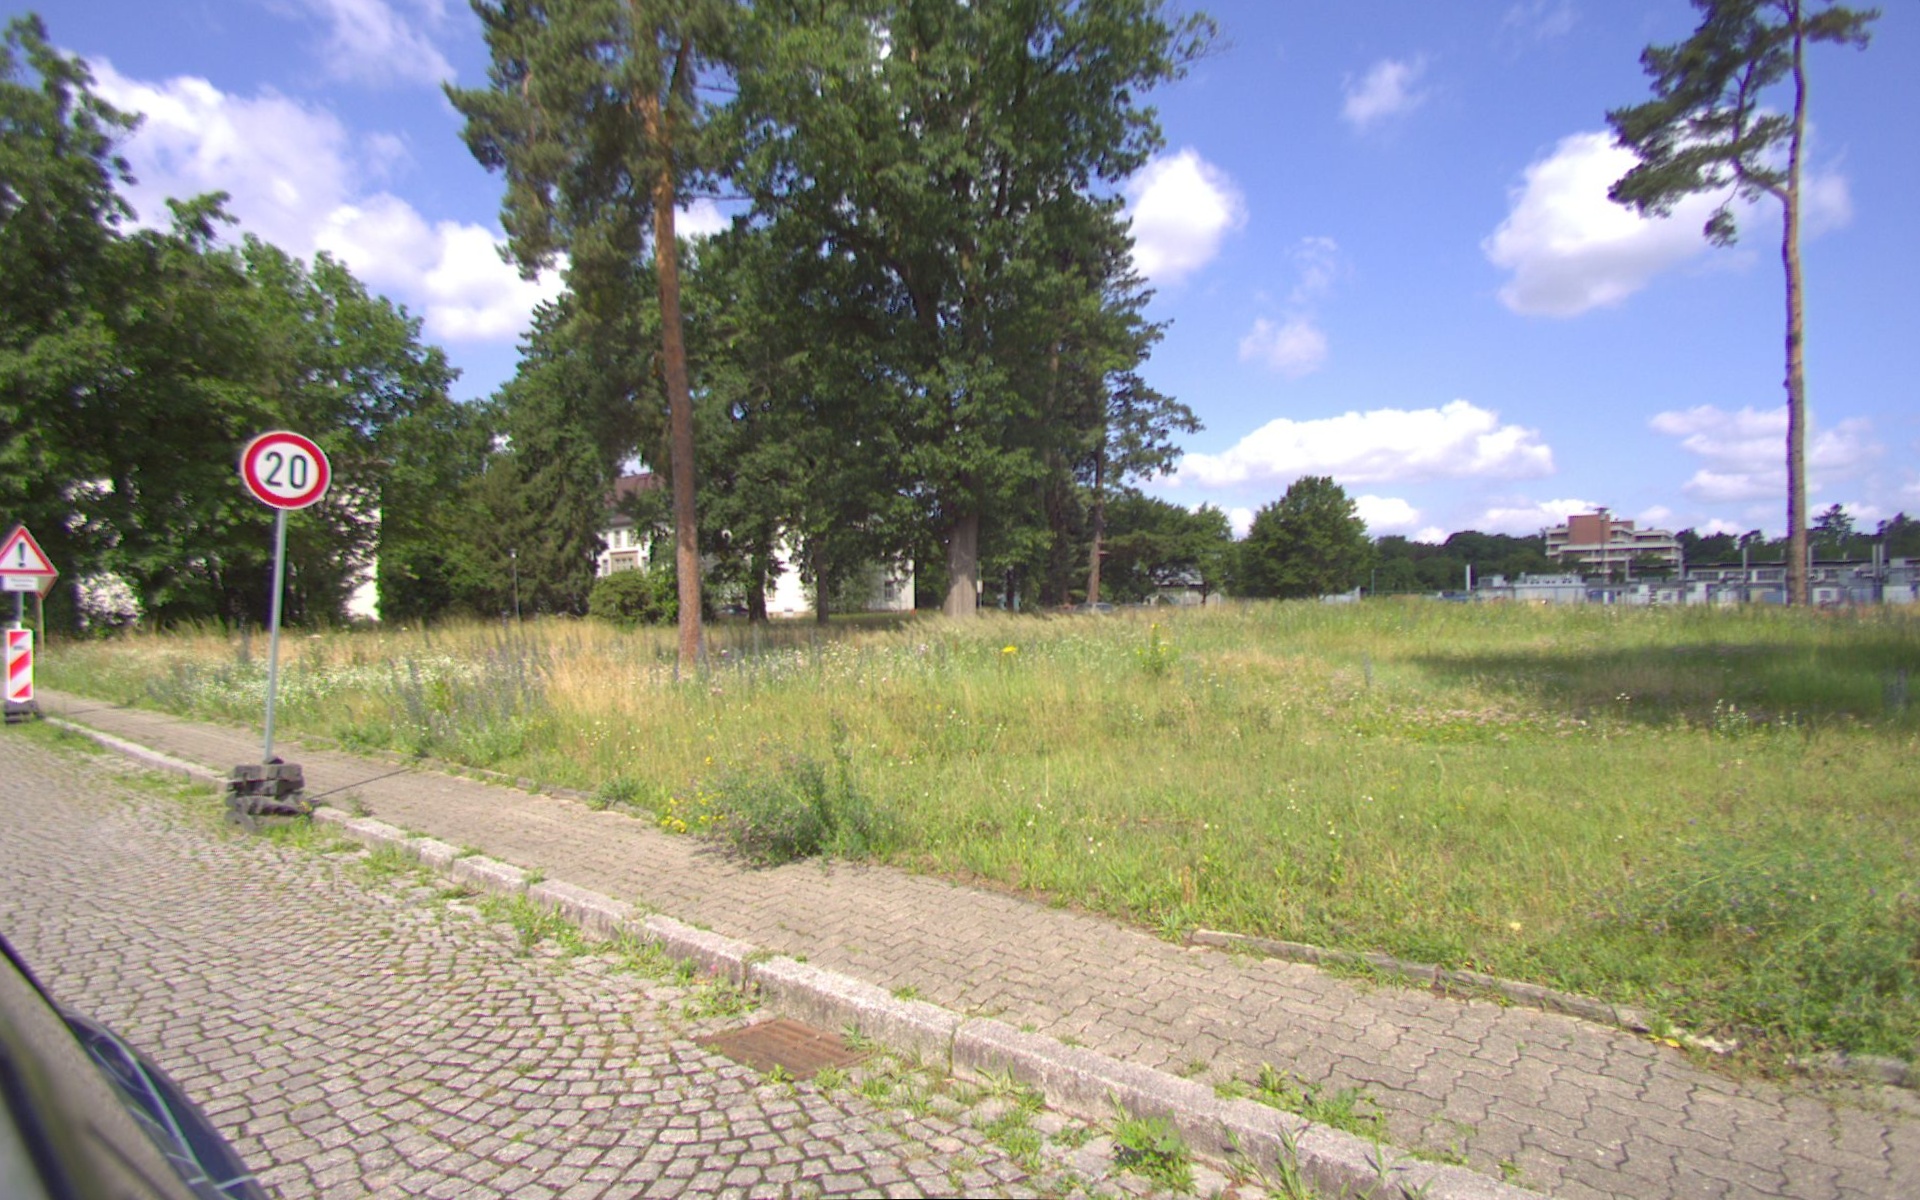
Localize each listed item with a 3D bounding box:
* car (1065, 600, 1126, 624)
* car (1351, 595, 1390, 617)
[{"bbox_3d":[8.269,0.745,61.458,1.898,1.423,4.018,-1,-1,39],"label":"car"},{"bbox_3d":[33.444,0.468,82.417,1.898,1.715,4.026,-1,-1,39],"label":"car"}]
